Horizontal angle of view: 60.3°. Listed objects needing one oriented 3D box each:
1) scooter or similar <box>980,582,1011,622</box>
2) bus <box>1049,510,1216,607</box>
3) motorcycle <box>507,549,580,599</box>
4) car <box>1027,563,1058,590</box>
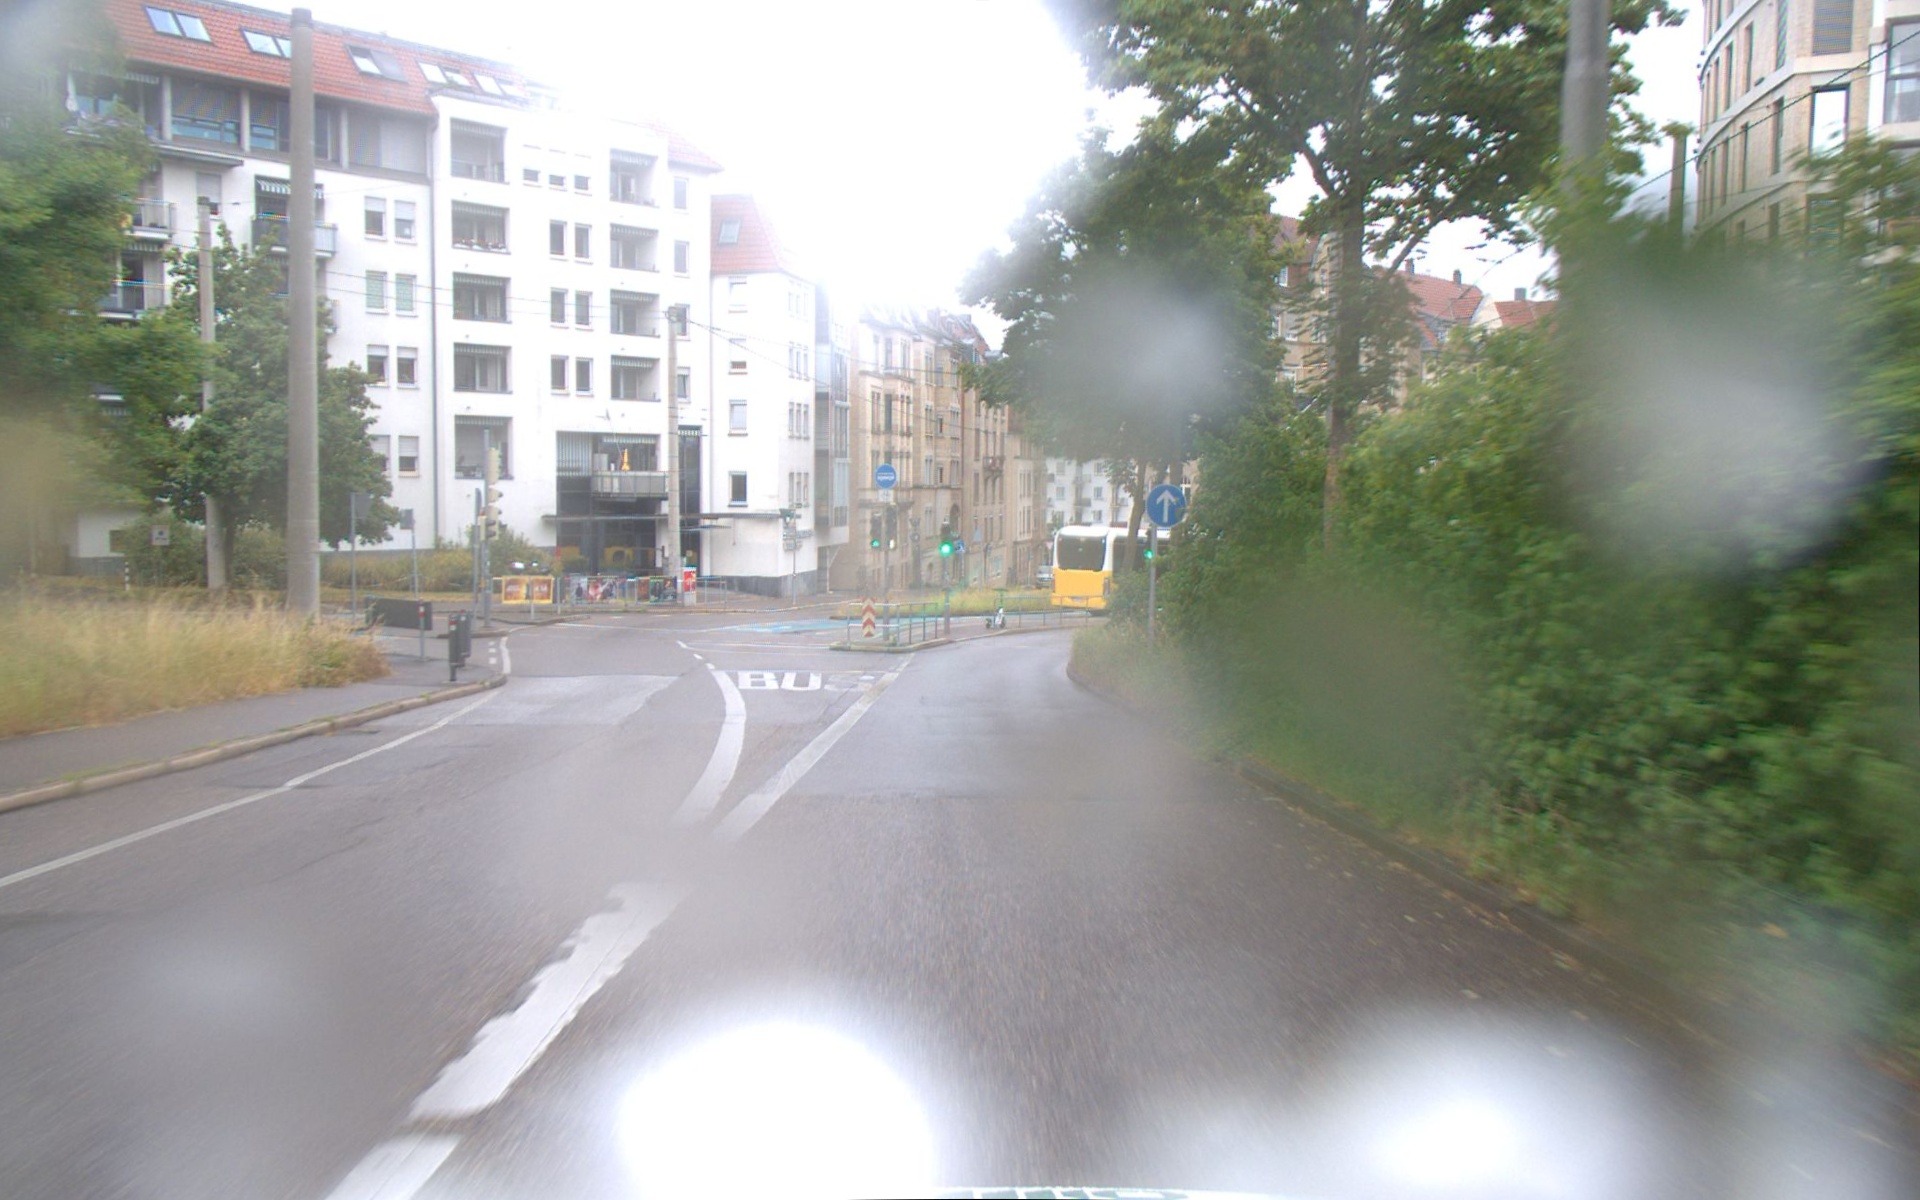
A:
[{"bbox_3d":[1.065,0.044,48.961,0.424,1.132,1.606,3,2,18],"label":"scooter or similar"},{"bbox_3d":[6.966,-1.545,65.313,2.545,3.529,9.079,2,1,34],"label":"bus"},{"bbox_3d":[-13.990,-0.861,55.618,0.685,1.576,2.432,6,3,35],"label":"motorcycle"},{"bbox_3d":[6.891,-1.967,138.322,2.094,2.174,4.856,2,1,-2],"label":"car"}]
